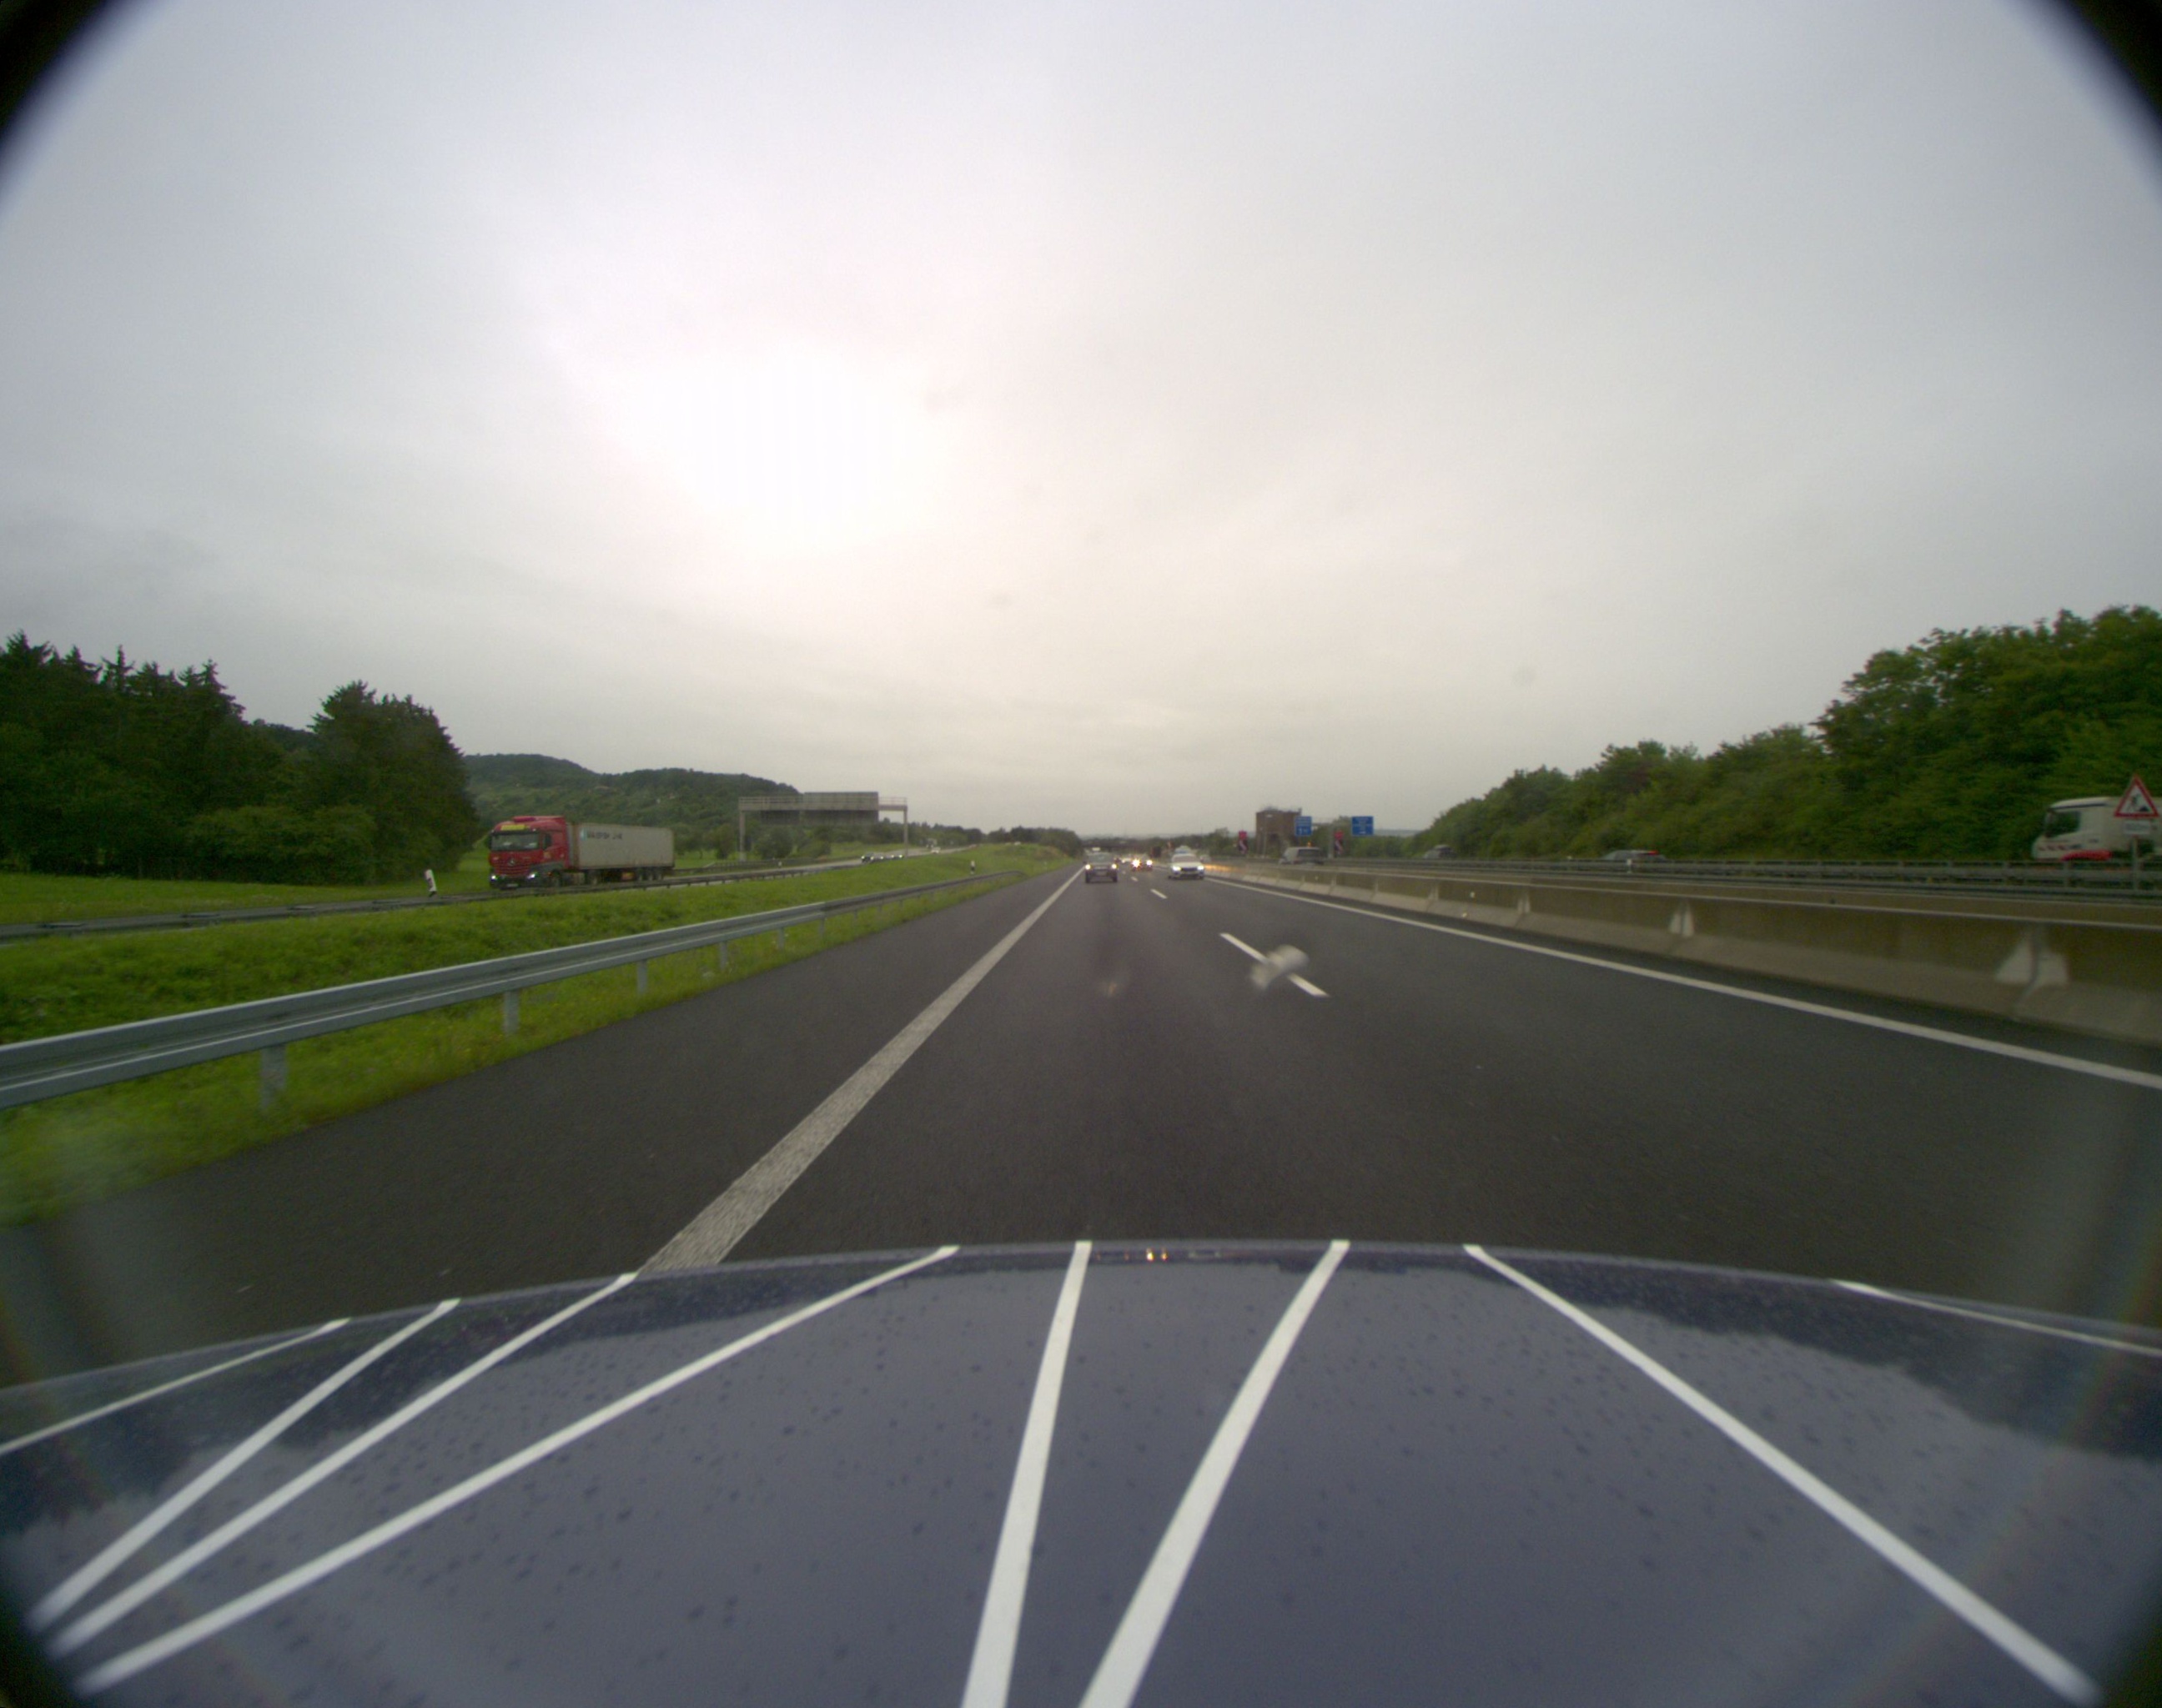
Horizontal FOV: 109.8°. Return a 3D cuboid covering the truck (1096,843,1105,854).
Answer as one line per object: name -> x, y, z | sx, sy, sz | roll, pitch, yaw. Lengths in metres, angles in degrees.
truck -> 6.476, -1.792, 250.694 | 2.728, 3.098, 7.960 | -3, 0, 2

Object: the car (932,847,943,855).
car -> -36.883, -0.718, 195.346 | 1.999, 2.002, 3.998 | -1, 0, -3

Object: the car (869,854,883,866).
car -> -34.870, 0.996, 129.100 | 1.653, 2.002, 3.997 | -1, 0, -6

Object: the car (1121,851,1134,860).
car -> 7.507, 0.219, 122.436 | 1.941, 1.341, 4.001 | -2, 0, 3

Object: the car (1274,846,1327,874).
car -> 14.340, 0.354, 49.878 | 1.998, 1.641, 5.026 | -2, 0, 0

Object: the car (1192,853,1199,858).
car -> 34.980, 0.431, 231.881 | 1.526, 1.390, 4.000 | -2, 0, 2

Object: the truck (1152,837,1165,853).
truck -> 22.960, -2.676, 225.610 | 3.408, 4.706, 10.486 | -1, 0, 3

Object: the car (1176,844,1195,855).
car -> 16.362, -0.696, 119.063 | 2.363, 1.683, 5.907 | -1, 0, 2

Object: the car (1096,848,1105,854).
car -> 4.792, -0.695, 187.595 | 1.941, 1.341, 4.000 | -3, 0, 2

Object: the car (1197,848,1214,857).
car -> 20.114, -0.223, 122.584 | 1.998, 1.427, 4.679 | -2, 0, 1

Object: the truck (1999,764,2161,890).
truck -> 32.563, -0.801, 21.070 | 2.692, 3.640, 9.557 | -1, 0, 1

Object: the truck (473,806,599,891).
truck -> -28.204, -0.281, 39.674 | 2.515, 3.964, 5.924 | -3, 1, -5

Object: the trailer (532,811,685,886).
trailer -> -28.865, -0.321, 47.425 | 2.498, 3.961, 12.399 | -3, 1, -5

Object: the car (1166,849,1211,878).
car -> 6.237, 0.523, 44.669 | 1.998, 1.582, 4.816 | -2, 0, 1

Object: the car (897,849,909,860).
car -> -32.054, 0.113, 136.916 | 1.654, 2.002, 3.997 | -1, 0, -9

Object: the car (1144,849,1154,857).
car -> 16.523, -0.334, 185.939 | 1.998, 1.825, 4.679 | -2, 0, 0

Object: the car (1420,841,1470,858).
car -> 30.336, -0.379, 63.499 | 1.998, 1.398, 4.676 | -1, 0, 2

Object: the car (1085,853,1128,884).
car -> 1.505, 0.764, 43.386 | 2.242, 1.565, 4.817 | -2, 0, 3

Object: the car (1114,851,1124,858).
car -> 8.074, 0.096, 163.481 | 1.998, 1.565, 4.000 | -3, 0, 2

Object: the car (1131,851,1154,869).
car -> 5.498, 0.512, 68.216 | 1.834, 1.417, 4.368 | -2, 0, 3

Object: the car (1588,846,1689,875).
car -> 29.099, 0.287, 39.852 | 1.998, 1.398, 4.676 | -1, 0, 2

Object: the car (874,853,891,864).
car -> -30.341, 0.688, 116.127 | 2.000, 1.710, 4.315 | -1, 0, -8
